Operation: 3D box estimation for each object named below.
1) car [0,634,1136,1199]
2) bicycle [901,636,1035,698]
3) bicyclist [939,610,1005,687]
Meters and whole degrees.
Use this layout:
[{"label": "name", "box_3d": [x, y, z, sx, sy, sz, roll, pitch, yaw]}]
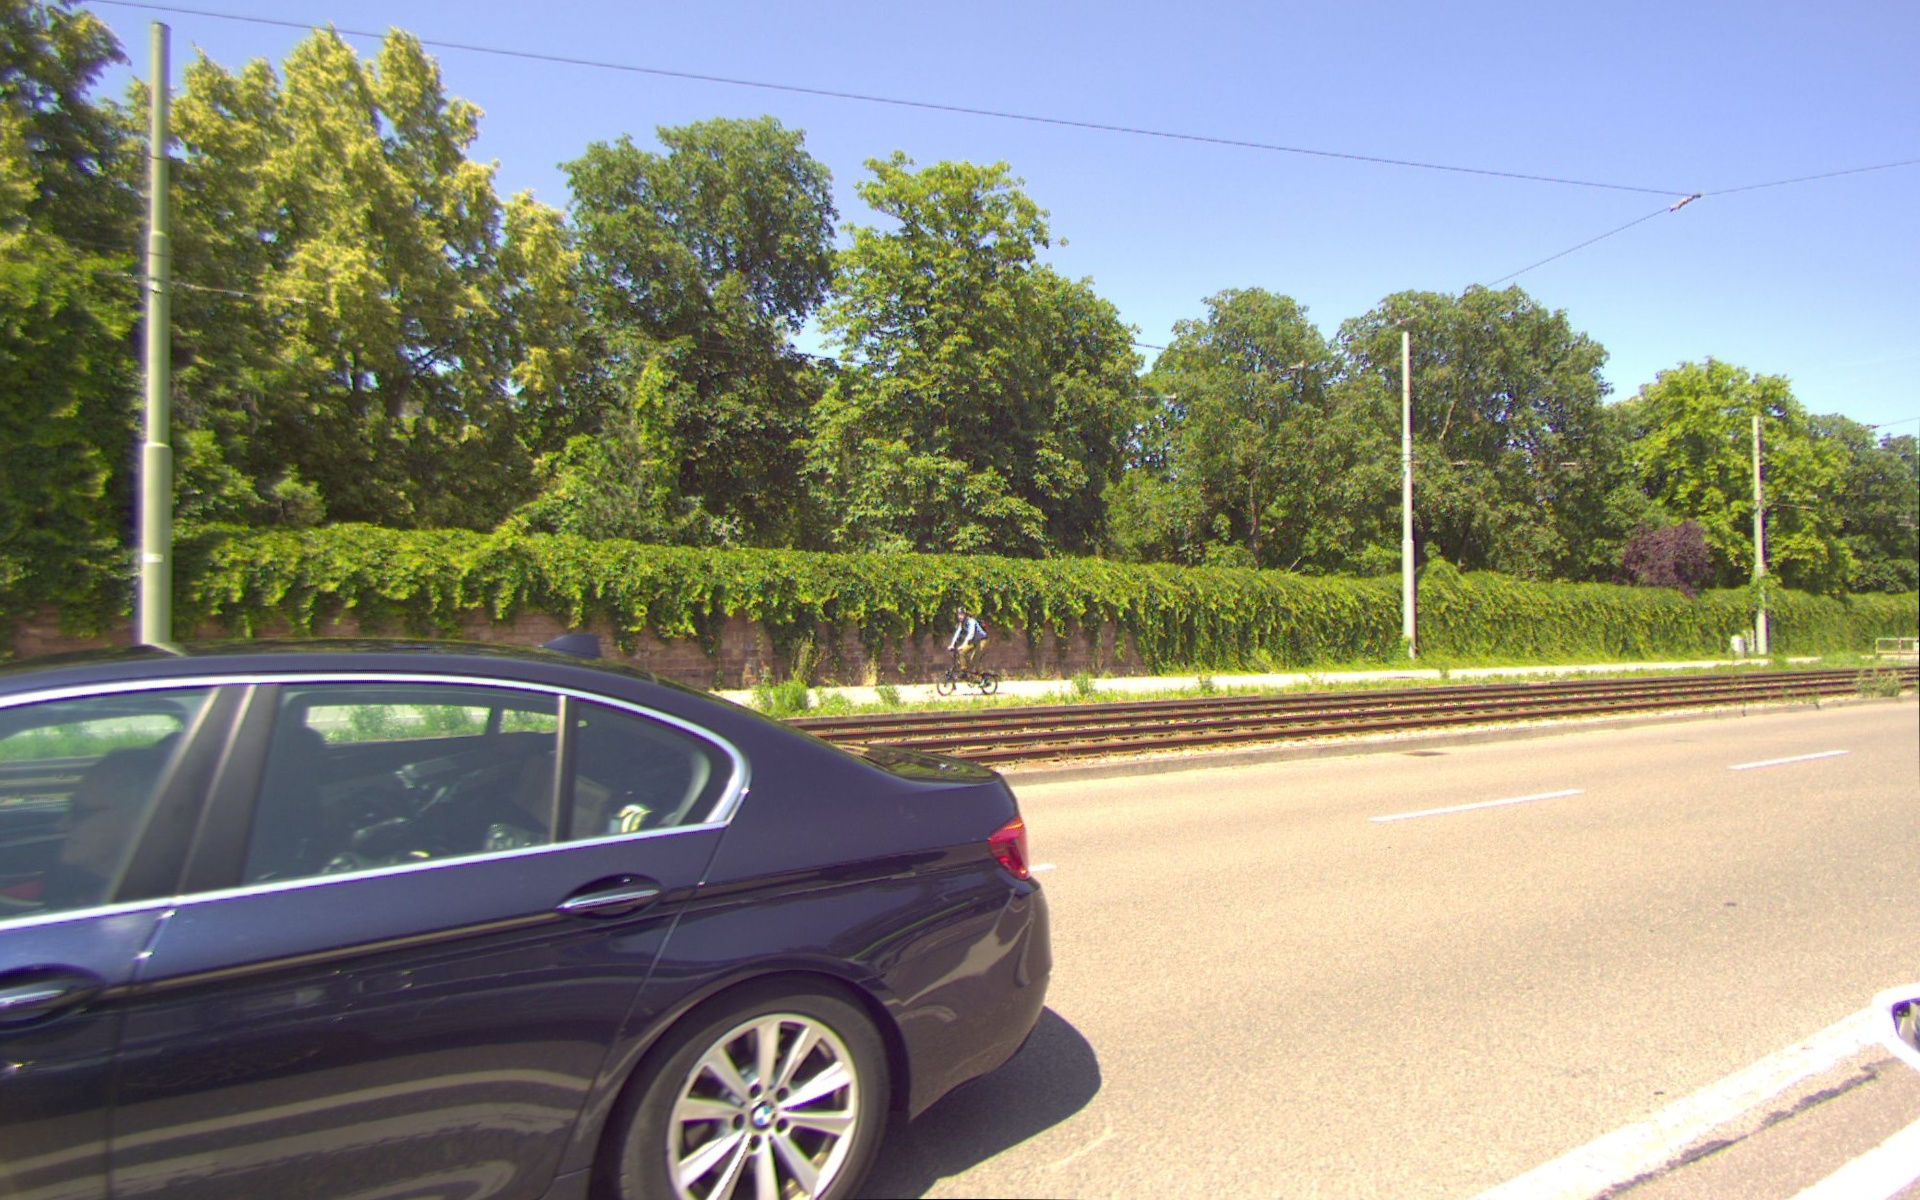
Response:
[{"label": "car", "box_3d": [-1.825, 0.806, 2.464, 4.398, 1.418, 1.784, 1, -2, -32]}, {"label": "bicycle", "box_3d": [0.181, 1.332, 20.294, 2.651, 1.171, 0.825, 1, -1, -28]}, {"label": "bicyclist", "box_3d": [0.243, 0.965, 20.342, 0.987, 1.505, 0.991, 1, -1, -28]}]
